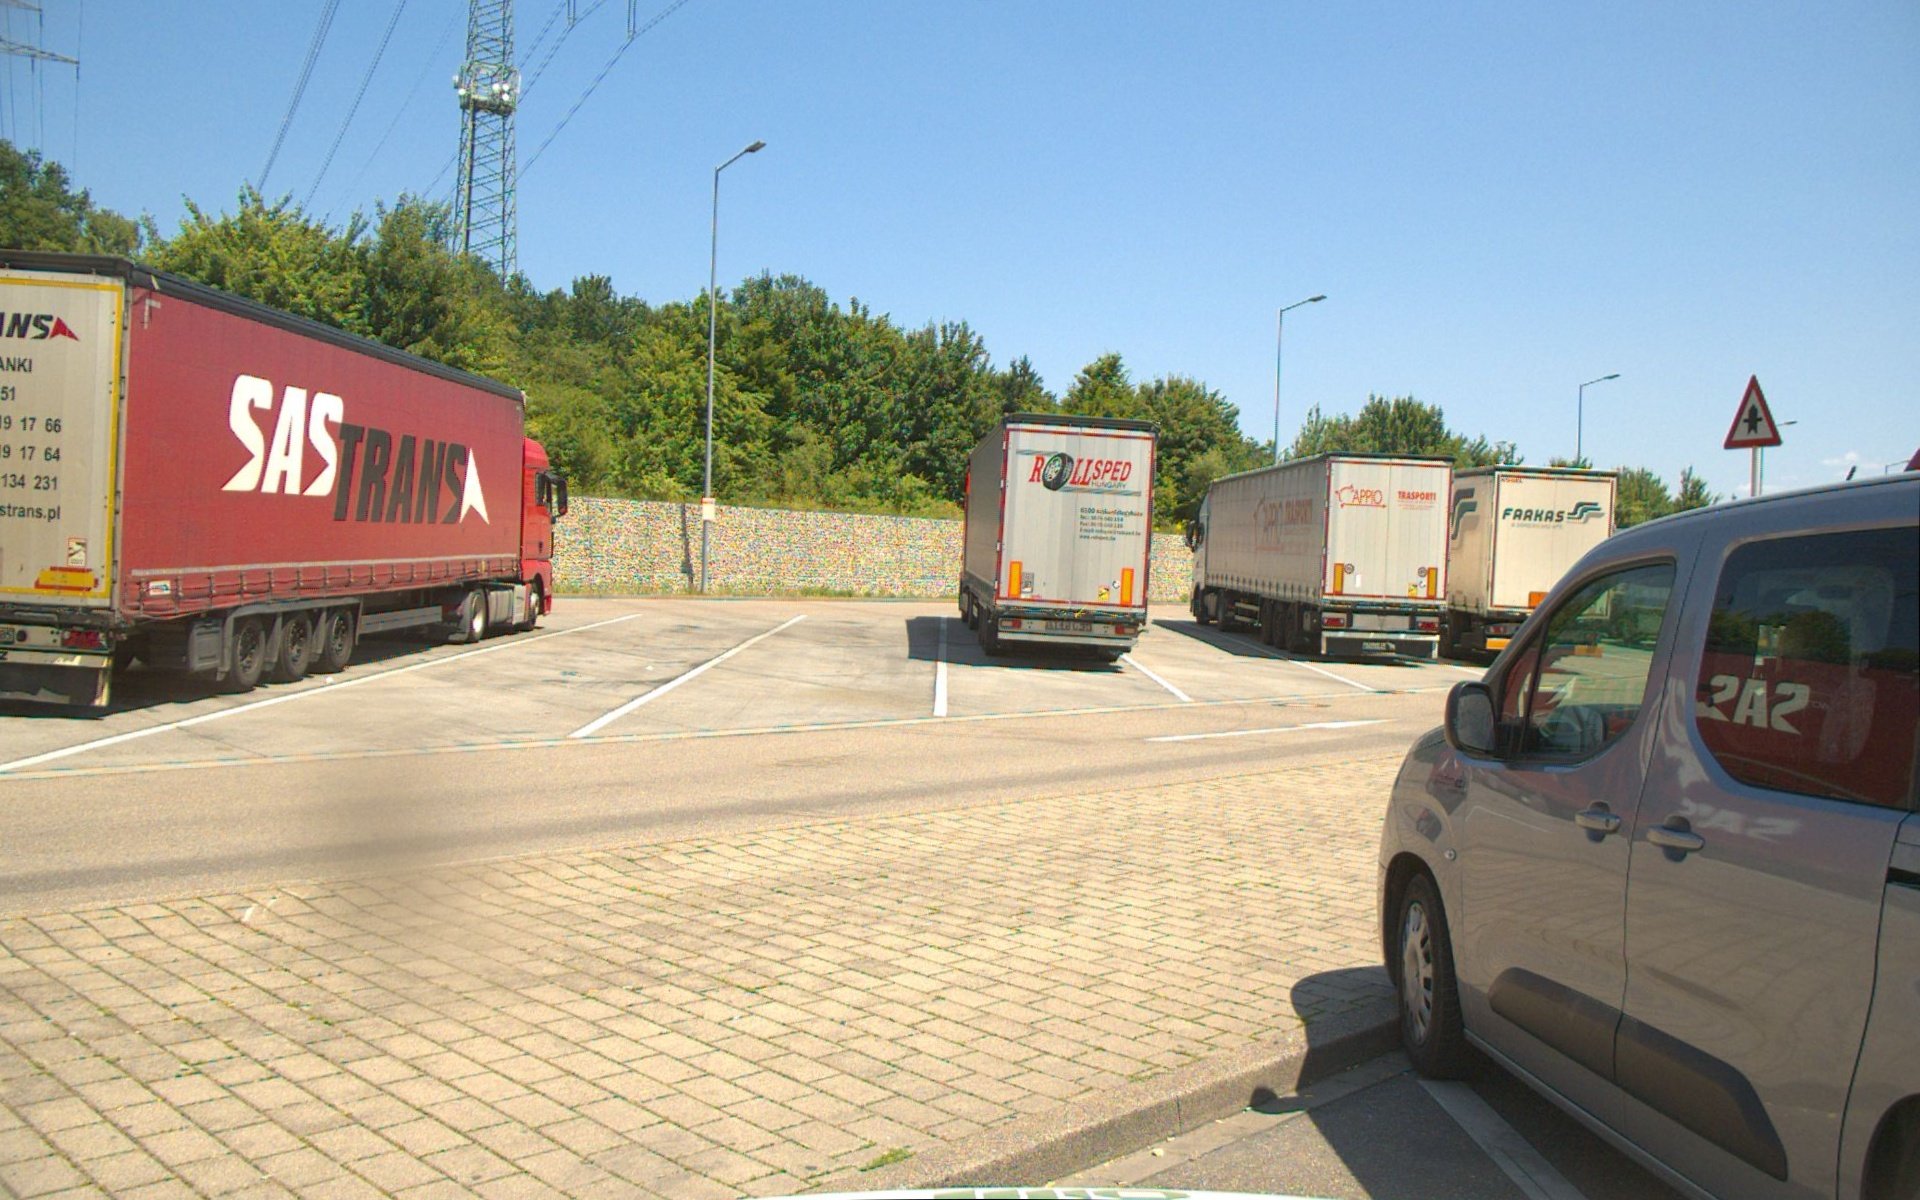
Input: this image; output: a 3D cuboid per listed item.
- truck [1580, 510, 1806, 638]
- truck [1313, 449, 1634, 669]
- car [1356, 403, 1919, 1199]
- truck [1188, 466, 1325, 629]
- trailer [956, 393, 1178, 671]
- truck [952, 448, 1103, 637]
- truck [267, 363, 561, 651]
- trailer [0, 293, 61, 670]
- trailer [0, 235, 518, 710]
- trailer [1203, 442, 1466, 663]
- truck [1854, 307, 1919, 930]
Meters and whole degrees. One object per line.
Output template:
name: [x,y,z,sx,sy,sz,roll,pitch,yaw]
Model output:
truck: [21.946,-0.803,50.178,2.963,3.497,8.529,1,1,-1]
truck: [11.705,-0.952,39.986,2.846,4.195,14.525,3,1,-1]
car: [2.422,0.554,3.808,1.790,1.784,3.997,1,1,-4]
truck: [8.061,-1.406,45.602,2.701,4.196,5.283,1,1,-1]
trailer: [1.688,-1.311,32.671,3.008,4.301,12.805,2,2,-2]
truck: [1.455,-1.375,39.437,2.965,3.997,6.845,2,2,-2]
truck: [-8.786,-1.418,27.532,2.687,4.152,6.828,1,1,-1]
trailer: [-12.420,-1.309,15.440,2.689,4.337,9.733,1,1,0]
trailer: [-8.692,-1.258,21.070,2.694,4.128,13.284,1,1,-1]
trailer: [8.194,-1.045,38.603,2.818,4.196,13.569,1,1,-1]
truck: [4.968,0.127,4.929,1.952,2.669,5.305,1,1,3]
